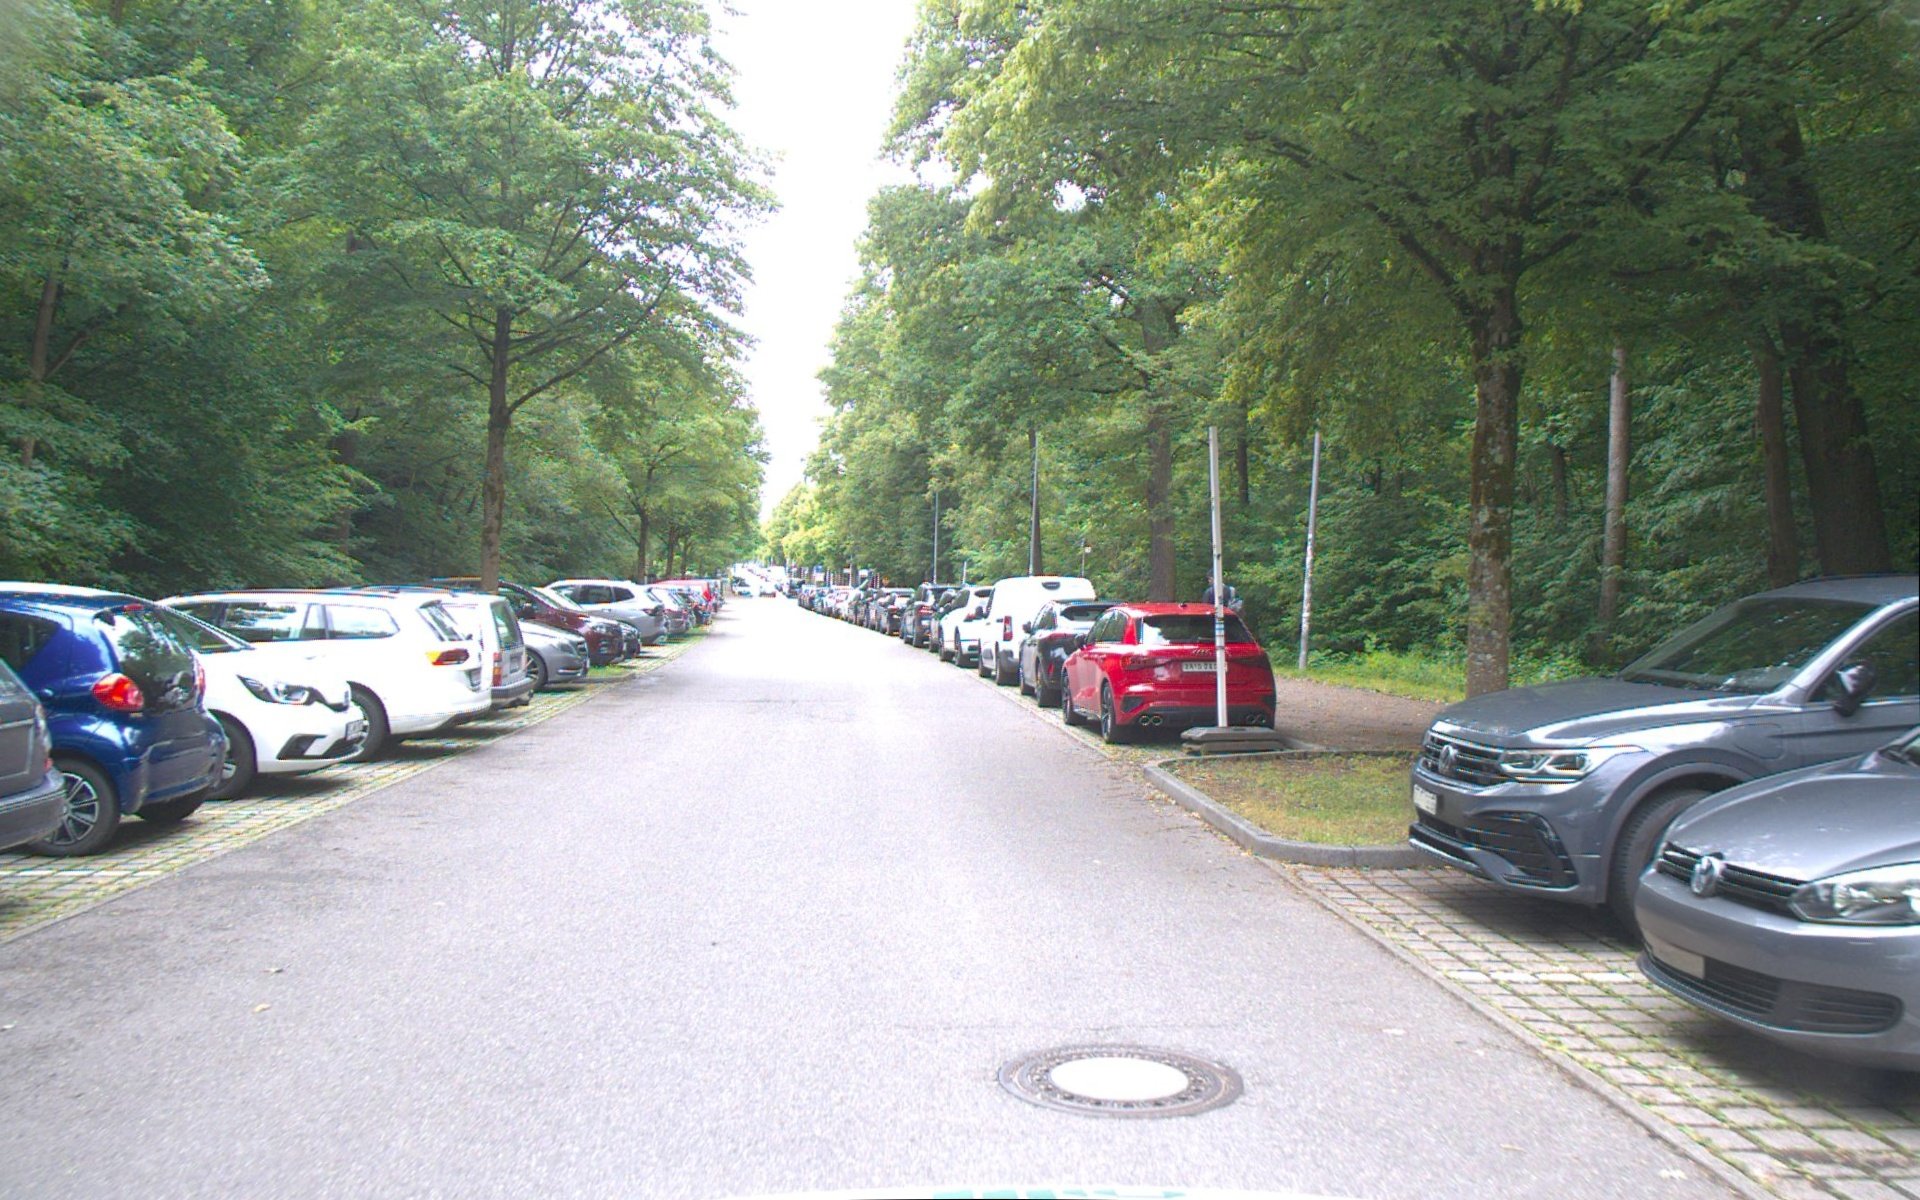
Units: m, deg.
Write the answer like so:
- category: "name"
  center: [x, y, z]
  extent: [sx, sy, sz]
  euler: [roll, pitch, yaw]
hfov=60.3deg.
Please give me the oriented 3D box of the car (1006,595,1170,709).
- category: "car"
  center: [1.747, 0.683, 23.854]
  extent: [1.691, 1.447, 4.280]
  euler: [1, 0, -5]

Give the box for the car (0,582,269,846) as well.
- category: "car"
  center: [-6.107, 0.624, 10.009]
  extent: [3.156, 1.469, 1.678]
  euler: [1, 0, -6]

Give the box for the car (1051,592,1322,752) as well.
- category: "car"
  center: [2.321, 0.684, 18.402]
  extent: [1.954, 1.505, 4.967]
  euler: [1, 0, -5]

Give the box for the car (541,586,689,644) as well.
- category: "car"
  center: [-9.763, 0.420, 47.108]
  extent: [4.014, 1.550, 1.925]
  euler: [1, 0, -10]

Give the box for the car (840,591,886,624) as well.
- category: "car"
  center: [-4.773, 0.338, 80.805]
  extent: [1.901, 1.501, 3.984]
  euler: [1, 0, -9]

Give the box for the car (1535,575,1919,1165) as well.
- category: "car"
  center: [4.294, 0.750, 5.684]
  extent: [3.912, 1.579, 1.972]
  euler: [1, 0, -8]

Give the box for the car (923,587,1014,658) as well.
- category: "car"
  center: [0.157, 0.514, 41.306]
  extent: [1.718, 1.635, 4.440]
  euler: [1, 0, -7]

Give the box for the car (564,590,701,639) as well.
- category: "car"
  center: [-10.275, 0.451, 52.094]
  extent: [4.030, 1.456, 1.962]
  euler: [1, 0, -6]

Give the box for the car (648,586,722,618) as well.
- category: "car"
  center: [-15.151, 0.113, 91.328]
  extent: [3.911, 1.669, 1.732]
  euler: [1, 0, -7]

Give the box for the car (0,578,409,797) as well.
- category: "car"
  center: [-6.559, 0.611, 12.389]
  extent: [4.283, 1.512, 1.889]
  euler: [1, 0, -7]

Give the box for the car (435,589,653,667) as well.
- category: "car"
  center: [-8.057, 0.532, 32.346]
  extent: [3.911, 1.388, 1.784]
  euler: [1, 0, -7]

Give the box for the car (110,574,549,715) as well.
- category: "car"
  center: [-7.311, 0.510, 19.604]
  extent: [4.475, 1.512, 1.938]
  euler: [1, 0, -6]

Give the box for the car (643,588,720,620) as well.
- category: "car"
  center: [-14.132, 0.211, 84.080]
  extent: [3.759, 1.563, 1.868]
  euler: [1, 0, -7]

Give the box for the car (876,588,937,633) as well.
- category: "car"
  center: [-1.880, 0.346, 57.504]
  extent: [1.606, 1.503, 4.143]
  euler: [1, 0, -9]

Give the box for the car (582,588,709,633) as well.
- category: "car"
  center: [-10.830, 0.366, 57.032]
  extent: [4.220, 1.474, 1.751]
  euler: [1, 0, -13]

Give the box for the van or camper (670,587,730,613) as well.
- category: "van or camper"
  center: [-20.787, -0.014, 132.258]
  extent: [4.412, 1.900, 1.907]
  euler: [1, 3, -22]

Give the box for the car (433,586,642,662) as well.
- category: "car"
  center: [-8.797, 0.481, 34.702]
  extent: [3.944, 1.490, 1.797]
  euler: [1, 0, -4]

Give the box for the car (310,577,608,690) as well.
- category: "car"
  center: [-7.368, 0.488, 24.688]
  extent: [3.957, 1.582, 1.917]
  euler: [1, 0, -7]

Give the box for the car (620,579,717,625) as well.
- category: "car"
  center: [-12.227, 0.071, 69.442]
  extent: [3.914, 1.848, 2.110]
  euler: [1, 0, -10]

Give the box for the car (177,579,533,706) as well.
- category: "car"
  center: [-7.913, 0.550, 22.025]
  extent: [4.158, 1.578, 1.843]
  euler: [1, 0, -11]

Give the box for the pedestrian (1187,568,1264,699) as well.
- category: "pedestrian"
  center: [3.681, 0.455, 23.023]
  extent: [0.801, 1.756, 1.003]
  euler: [1, 0, -5]

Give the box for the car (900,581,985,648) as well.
- category: "car"
  center: [-0.565, 0.374, 46.979]
  extent: [1.854, 1.777, 4.941]
  euler: [1, 0, -7]

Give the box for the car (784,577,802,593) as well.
- category: "car"
  center: [-16.742, -1.528, 165.475]
  extent: [1.598, 1.440, 3.405]
  euler: [2, 3, -8]

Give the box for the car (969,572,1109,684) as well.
- category: "car"
  center: [1.313, 0.441, 29.305]
  extent: [1.711, 1.811, 4.545]
  euler: [1, 0, -7]

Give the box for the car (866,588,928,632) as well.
- category: "car"
  center: [-2.453, 0.354, 63.322]
  extent: [1.941, 1.564, 4.613]
  euler: [1, 0, -8]

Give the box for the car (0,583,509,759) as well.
- category: "car"
  center: [-6.569, 0.605, 15.102]
  extent: [4.477, 1.473, 2.082]
  euler: [1, 0, -9]

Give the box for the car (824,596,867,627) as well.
- category: "car"
  center: [-6.013, 0.572, 86.547]
  extent: [1.691, 1.520, 3.762]
  euler: [1, 0, -12]

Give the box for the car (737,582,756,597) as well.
- category: "car"
  center: [-21.057, -1.041, 162.845]
  extent: [1.705, 1.182, 3.408]
  euler: [2, 3, -6]

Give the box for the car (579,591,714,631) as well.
- category: "car"
  center: [-11.189, 0.382, 59.352]
  extent: [4.643, 1.367, 1.983]
  euler: [1, 0, -9]

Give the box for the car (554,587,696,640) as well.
- category: "car"
  center: [-10.005, 0.395, 49.654]
  extent: [4.032, 1.506, 1.993]
  euler: [1, 0, -8]

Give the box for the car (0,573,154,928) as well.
- category: "car"
  center: [-6.168, 0.610, 7.302]
  extent: [4.179, 1.512, 2.057]
  euler: [1, 0, -1]

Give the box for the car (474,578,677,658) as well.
- category: "car"
  center: [-8.530, 0.389, 36.992]
  extent: [4.143, 1.661, 2.027]
  euler: [1, 0, -6]

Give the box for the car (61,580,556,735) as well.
- category: "car"
  center: [-6.704, 0.580, 17.442]
  extent: [4.473, 1.512, 1.868]
  euler: [1, 0, -5]

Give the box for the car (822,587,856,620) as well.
- category: "car"
  center: [-6.766, 0.158, 92.308]
  extent: [1.678, 1.758, 3.994]
  euler: [1, 0, -7]

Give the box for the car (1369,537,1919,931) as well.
- category: "car"
  center: [4.402, 0.608, 8.267]
  extent: [4.180, 1.695, 1.957]
  euler: [1, 0, -3]

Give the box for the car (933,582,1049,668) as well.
- category: "car"
  center: [0.587, 0.482, 35.466]
  extent: [1.752, 1.691, 4.709]
  euler: [1, 0, -8]

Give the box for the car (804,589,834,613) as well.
- category: "car"
  center: [-9.515, 0.073, 111.542]
  extent: [1.884, 1.547, 3.881]
  euler: [1, 0, -6]

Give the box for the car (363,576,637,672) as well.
- category: "car"
  center: [-8.144, 0.426, 29.639]
  extent: [4.428, 1.612, 1.924]
  euler: [1, 0, -6]

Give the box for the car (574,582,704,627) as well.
- category: "car"
  center: [-11.982, 0.162, 61.970]
  extent: [4.643, 1.623, 1.956]
  euler: [1, 0, -9]

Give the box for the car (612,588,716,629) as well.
- category: "car"
  center: [-11.548, 0.331, 64.504]
  extent: [3.916, 1.557, 1.994]
  euler: [1, 0, -12]
